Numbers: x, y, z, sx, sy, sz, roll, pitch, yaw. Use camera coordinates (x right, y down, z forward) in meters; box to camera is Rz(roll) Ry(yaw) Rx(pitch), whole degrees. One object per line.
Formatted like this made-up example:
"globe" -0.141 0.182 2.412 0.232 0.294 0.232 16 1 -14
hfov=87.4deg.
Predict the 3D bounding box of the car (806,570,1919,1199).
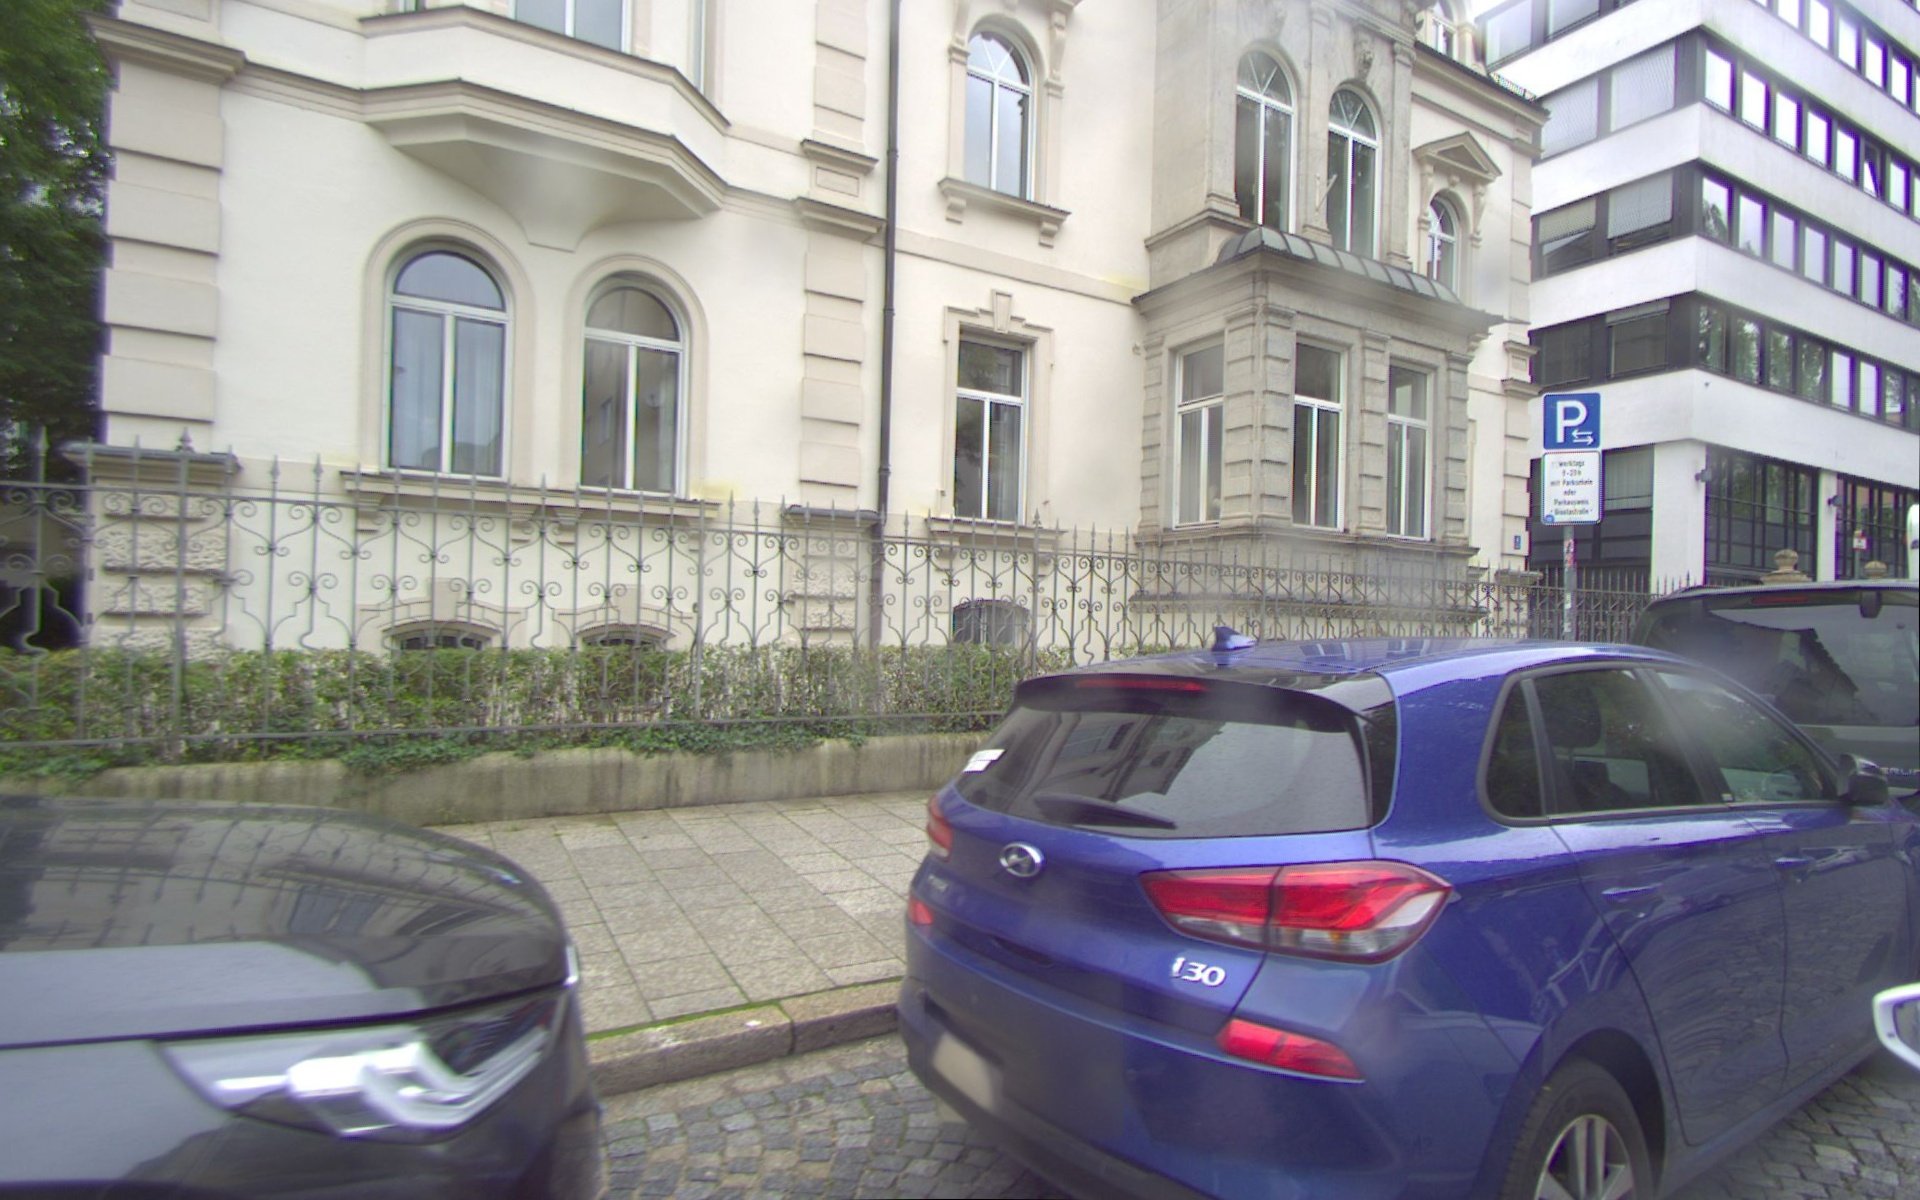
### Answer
"car" 1.743 0.761 3.342 4.012 1.478 1.930 2 -1 -32

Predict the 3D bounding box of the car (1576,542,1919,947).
"car" 5.690 0.692 5.944 4.122 1.774 1.884 2 -2 -32

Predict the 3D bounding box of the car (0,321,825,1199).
"car" -2.500 0.563 0.943 4.342 1.740 1.764 2 -1 -32

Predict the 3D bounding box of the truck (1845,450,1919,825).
"truck" 10.950 0.345 9.212 6.313 3.071 2.495 1 -2 -32
